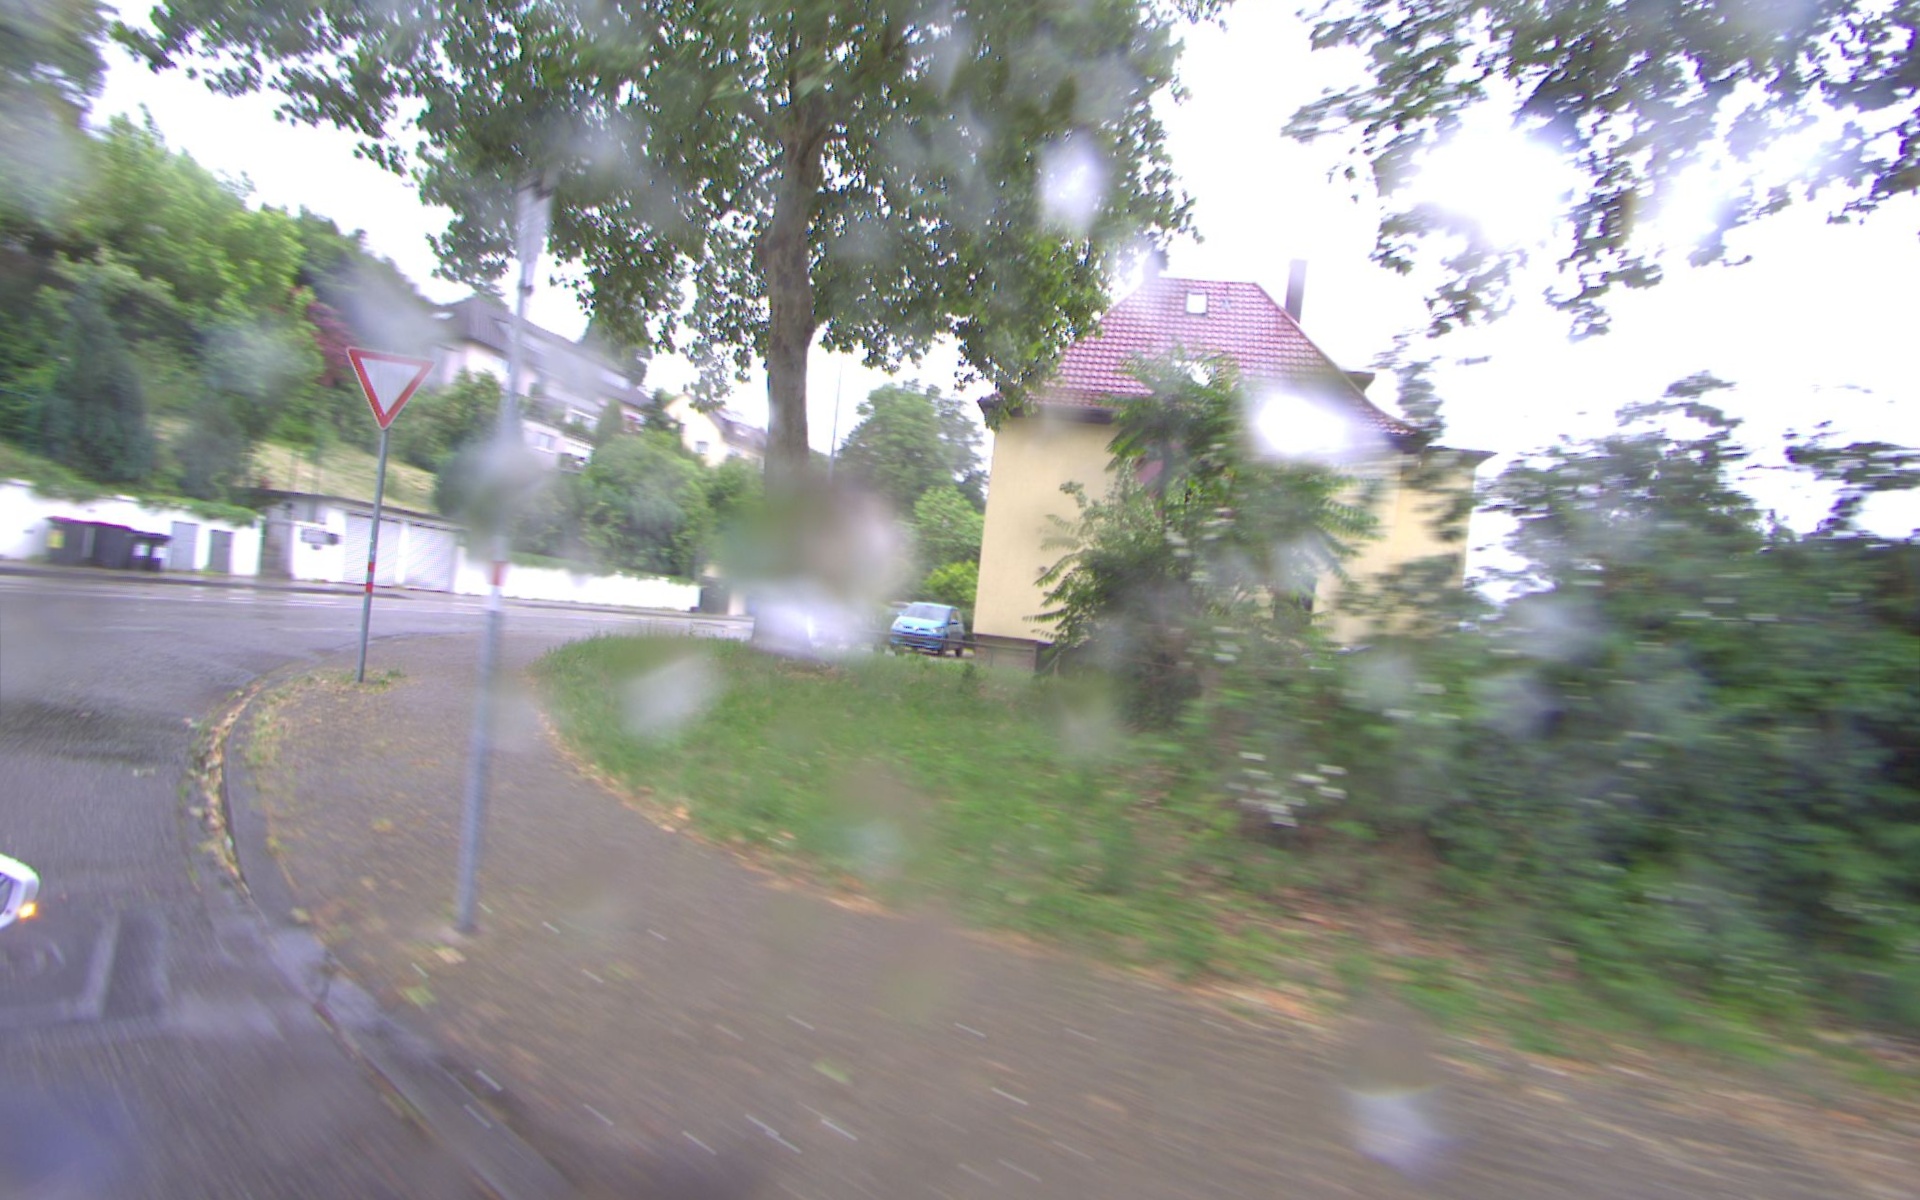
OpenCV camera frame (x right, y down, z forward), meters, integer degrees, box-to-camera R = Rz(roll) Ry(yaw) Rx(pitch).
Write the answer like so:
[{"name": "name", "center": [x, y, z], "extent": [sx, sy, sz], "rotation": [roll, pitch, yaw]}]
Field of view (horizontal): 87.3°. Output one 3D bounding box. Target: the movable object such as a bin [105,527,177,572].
[{"name": "movable object such as a bin", "center": [-19.447, -1.194, 23.907], "extent": [0.836, 0.927, 0.954], "rotation": [6, 0, 8]}]

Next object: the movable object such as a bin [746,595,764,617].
[{"name": "movable object such as a bin", "center": [-13.077, 0.376, 64.170], "extent": [0.700, 1.353, 0.834], "rotation": [6, 1, 18]}]

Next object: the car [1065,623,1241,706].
[{"name": "car", "center": [3.994, 1.309, 21.074], "extent": [3.388, 1.315, 1.546], "rotation": [6, 0, 9]}]

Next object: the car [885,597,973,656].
[{"name": "car", "center": [-0.841, 0.774, 29.523], "extent": [1.619, 1.465, 3.550], "rotation": [6, 0, 13]}]

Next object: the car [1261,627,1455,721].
[{"name": "car", "center": [8.138, 1.481, 20.803], "extent": [3.364, 1.490, 1.492], "rotation": [6, 0, 9]}]

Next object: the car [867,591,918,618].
[{"name": "car", "center": [-5.168, 0.375, 77.702], "extent": [2.259, 1.775, 5.181], "rotation": [6, 0, 15]}]

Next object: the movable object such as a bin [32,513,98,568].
[{"name": "movable object such as a bin", "center": [-19.619, -1.304, 22.062], "extent": [0.675, 1.073, 0.754], "rotation": [6, 0, 9]}]

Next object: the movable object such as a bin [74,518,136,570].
[{"name": "movable object such as a bin", "center": [-19.394, -1.263, 22.837], "extent": [0.624, 1.073, 0.794], "rotation": [6, 0, 9]}]
